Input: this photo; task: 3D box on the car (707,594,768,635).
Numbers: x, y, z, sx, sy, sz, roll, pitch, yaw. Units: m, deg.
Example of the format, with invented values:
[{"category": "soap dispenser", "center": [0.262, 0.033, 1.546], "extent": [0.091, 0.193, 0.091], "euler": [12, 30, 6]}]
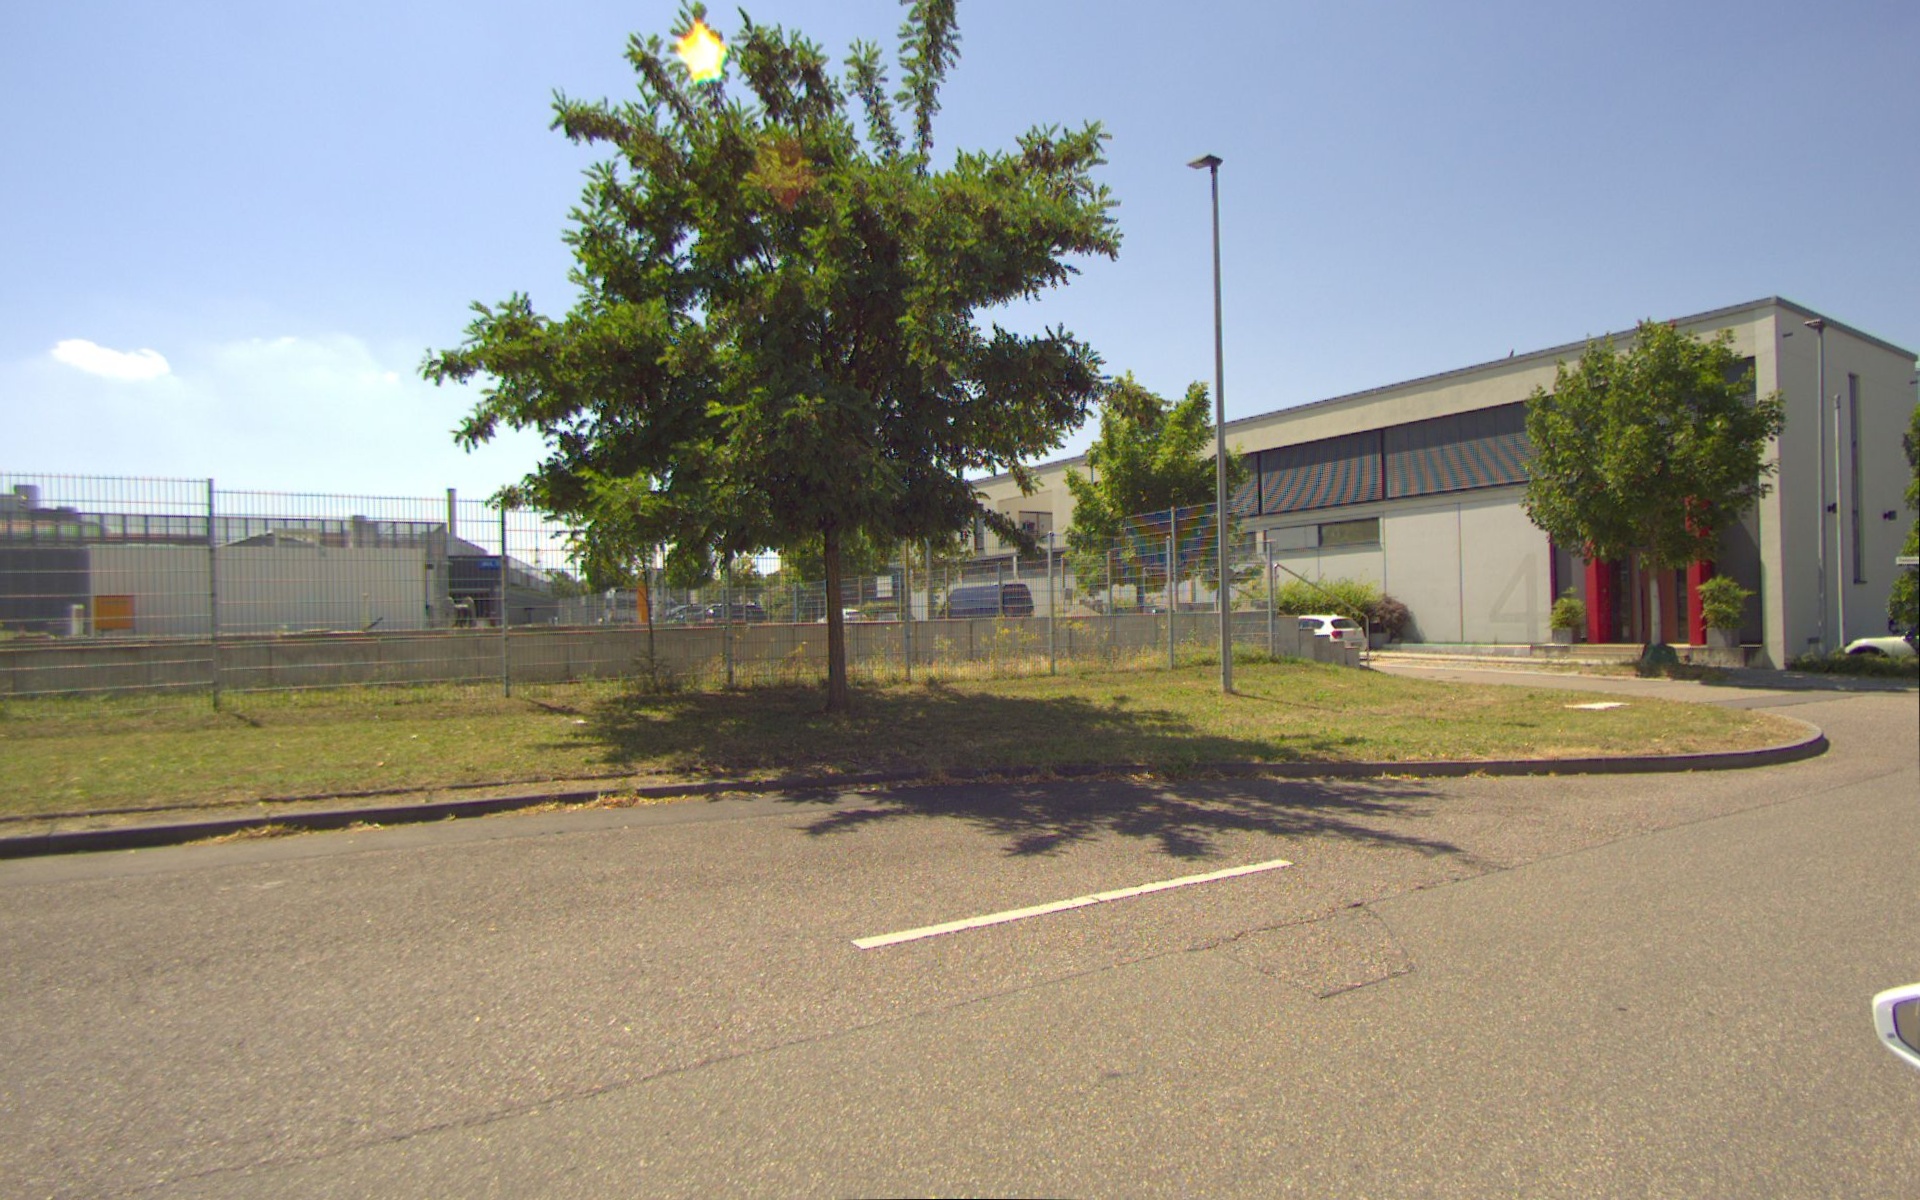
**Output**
[{"category": "car", "center": [-11.650, 0.742, 52.463], "extent": [1.952, 2.040, 3.967], "euler": [1, -1, -30]}]

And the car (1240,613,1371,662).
[{"category": "car", "center": [11.443, 1.207, 33.483], "extent": [1.638, 1.427, 3.979], "euler": [-3, 1, -32]}]

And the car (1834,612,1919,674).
[{"category": "car", "center": [24.280, 1.071, 24.630], "extent": [1.712, 1.514, 4.019], "euler": [1, -1, -35]}]

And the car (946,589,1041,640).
[{"category": "car", "center": [1.589, 0.659, 49.663], "extent": [2.108, 2.303, 5.215], "euler": [-3, 1, -32]}]

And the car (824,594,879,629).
[{"category": "car", "center": [-6.872, 0.679, 63.201], "extent": [1.948, 2.041, 3.967], "euler": [-3, 1, -30]}]

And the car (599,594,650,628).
[{"category": "car", "center": [-20.717, 0.648, 61.863], "extent": [2.257, 2.040, 3.968], "euler": [0, 0, -30]}]
